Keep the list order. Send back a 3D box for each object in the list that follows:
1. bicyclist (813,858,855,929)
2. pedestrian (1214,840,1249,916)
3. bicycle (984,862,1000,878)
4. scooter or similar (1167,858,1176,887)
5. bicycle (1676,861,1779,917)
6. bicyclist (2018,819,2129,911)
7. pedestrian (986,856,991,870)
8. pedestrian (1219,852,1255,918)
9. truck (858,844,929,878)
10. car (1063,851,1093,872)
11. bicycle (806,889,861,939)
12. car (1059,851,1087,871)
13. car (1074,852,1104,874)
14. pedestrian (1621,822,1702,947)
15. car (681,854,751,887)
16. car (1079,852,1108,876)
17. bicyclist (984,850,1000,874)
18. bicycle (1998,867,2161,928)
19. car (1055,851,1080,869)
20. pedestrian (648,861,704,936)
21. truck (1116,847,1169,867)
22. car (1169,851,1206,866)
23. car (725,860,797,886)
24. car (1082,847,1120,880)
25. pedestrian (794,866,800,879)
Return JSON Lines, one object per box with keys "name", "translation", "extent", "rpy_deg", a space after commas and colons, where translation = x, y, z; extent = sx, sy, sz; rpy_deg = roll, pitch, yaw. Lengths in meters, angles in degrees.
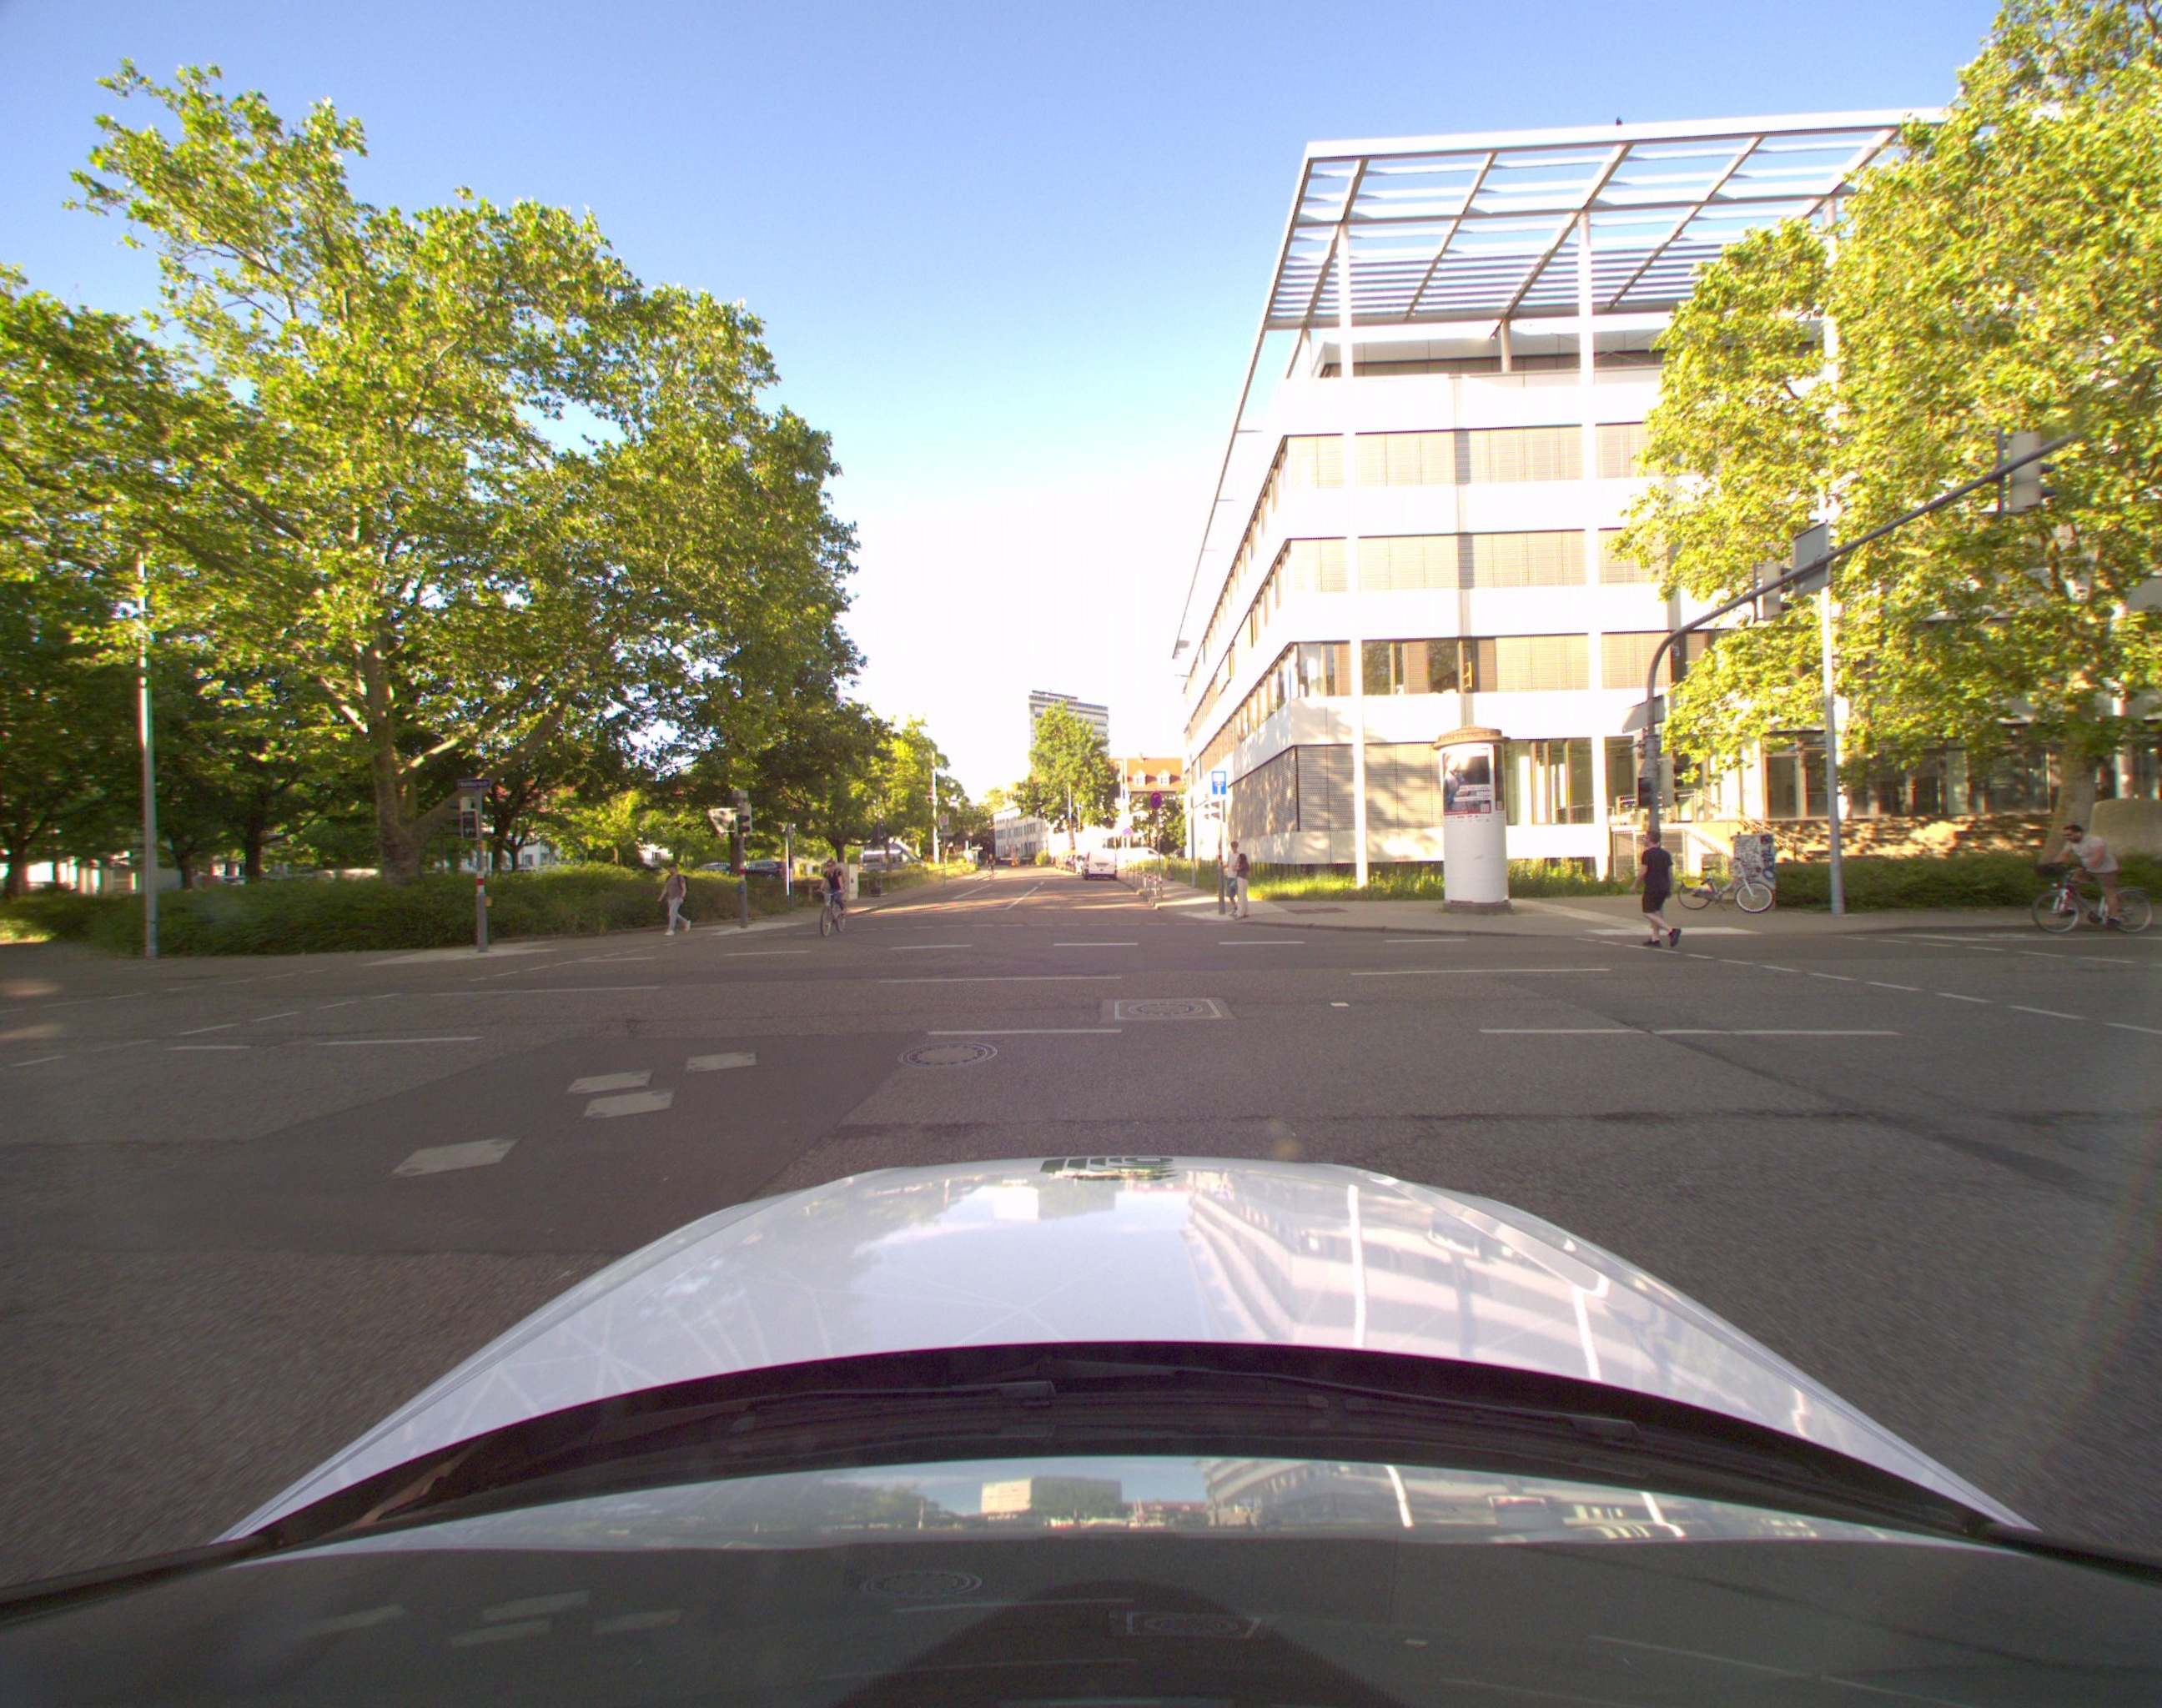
{"name": "bicyclist", "translation": [-5.519, 0.873, 18.234], "extent": [0.613, 1.532, 0.903], "rpy_deg": [-2, 0, 0]}
{"name": "pedestrian", "translation": [3.786, 0.591, 20.476], "extent": [0.554, 1.850, 0.681], "rpy_deg": [-4, 0, 25]}
{"name": "bicycle", "translation": [-5.960, 1.056, 54.669], "extent": [0.863, 1.009, 2.412], "rpy_deg": [-4, -1, -2]}
{"name": "scooter or similar", "translation": [4.598, 0.940, 41.386], "extent": [0.329, 1.424, 1.336], "rpy_deg": [0, -1, 3]}
{"name": "bicycle", "translation": [13.650, 0.709, 17.244], "extent": [0.509, 1.049, 1.673], "rpy_deg": [-3, 3, -26]}
{"name": "bicyclist", "translation": [16.656, 0.175, 13.687], "extent": [0.949, 1.489, 0.748], "rpy_deg": [-1, 0, -2]}
{"name": "pedestrian", "translation": [-11.487, 1.147, 100.700], "extent": [0.545, 1.677, 0.474], "rpy_deg": [-2, 0, -8]}
{"name": "pedestrian", "translation": [3.804, 0.748, 19.858], "extent": [0.559, 1.540, 0.674], "rpy_deg": [-4, 0, -10]}
{"name": "truck", "translation": [-13.968, 0.513, 60.874], "extent": [4.814, 2.399, 2.086], "rpy_deg": [-1, 0, -1]}
{"name": "car", "translation": [-0.303, 0.577, 69.453], "extent": [1.888, 1.655, 4.401], "rpy_deg": [-1, 1, -10]}
{"name": "bicycle", "translation": [-5.509, 1.307, 18.217], "extent": [0.613, 0.970, 1.841], "rpy_deg": [-2, 0, 0]}
{"name": "car", "translation": [-0.785, 0.609, 74.939], "extent": [1.888, 1.655, 4.401], "rpy_deg": [-1, 1, -10]}
{"name": "car", "translation": [0.576, 0.625, 61.981], "extent": [1.885, 1.555, 4.408], "rpy_deg": [-1, 1, -4]}
{"name": "pedestrian", "translation": [8.853, 0.451, 12.447], "extent": [0.703, 1.840, 0.839], "rpy_deg": [0, 0, 8]}
{"name": "car", "translation": [-29.125, 1.321, 65.015], "extent": [4.540, 2.391, 2.074], "rpy_deg": [-2, -1, 0]}
{"name": "car", "translation": [0.851, 0.648, 56.497], "extent": [1.883, 1.555, 4.413], "rpy_deg": [-1, 1, -1]}
{"name": "bicyclist", "translation": [-5.984, 0.551, 54.690], "extent": [0.863, 1.515, 1.018], "rpy_deg": [-4, -1, -2]}
{"name": "bicycle", "translation": [16.841, 0.720, 13.687], "extent": [2.106, 0.927, 0.731], "rpy_deg": [-1, 0, -3]}
{"name": "car", "translation": [-1.350, 0.566, 79.671], "extent": [1.888, 1.655, 4.401], "rpy_deg": [-1, 1, -10]}
{"name": "pedestrian", "translation": [-9.689, 1.055, 19.514], "extent": [0.698, 1.723, 0.958], "rpy_deg": [-3, -1, 14]}
{"name": "truck", "translation": [6.494, 0.337, 86.189], "extent": [5.339, 2.014, 1.993], "rpy_deg": [-1, 0, -11]}
{"name": "car", "translation": [11.326, 0.514, 86.685], "extent": [3.555, 1.546, 1.553], "rpy_deg": [-1, 0, -11]}
{"name": "car", "translation": [-23.942, 1.391, 61.046], "extent": [4.540, 1.730, 2.074], "rpy_deg": [-2, -1, 0]}
{"name": "car", "translation": [1.127, 0.518, 48.271], "extent": [2.079, 1.795, 4.413], "rpy_deg": [-1, 1, -1]}
{"name": "pedestrian", "translation": [-27.833, 1.801, 79.787], "extent": [0.559, 1.323, 0.574], "rpy_deg": [-2, 0, -18]}
